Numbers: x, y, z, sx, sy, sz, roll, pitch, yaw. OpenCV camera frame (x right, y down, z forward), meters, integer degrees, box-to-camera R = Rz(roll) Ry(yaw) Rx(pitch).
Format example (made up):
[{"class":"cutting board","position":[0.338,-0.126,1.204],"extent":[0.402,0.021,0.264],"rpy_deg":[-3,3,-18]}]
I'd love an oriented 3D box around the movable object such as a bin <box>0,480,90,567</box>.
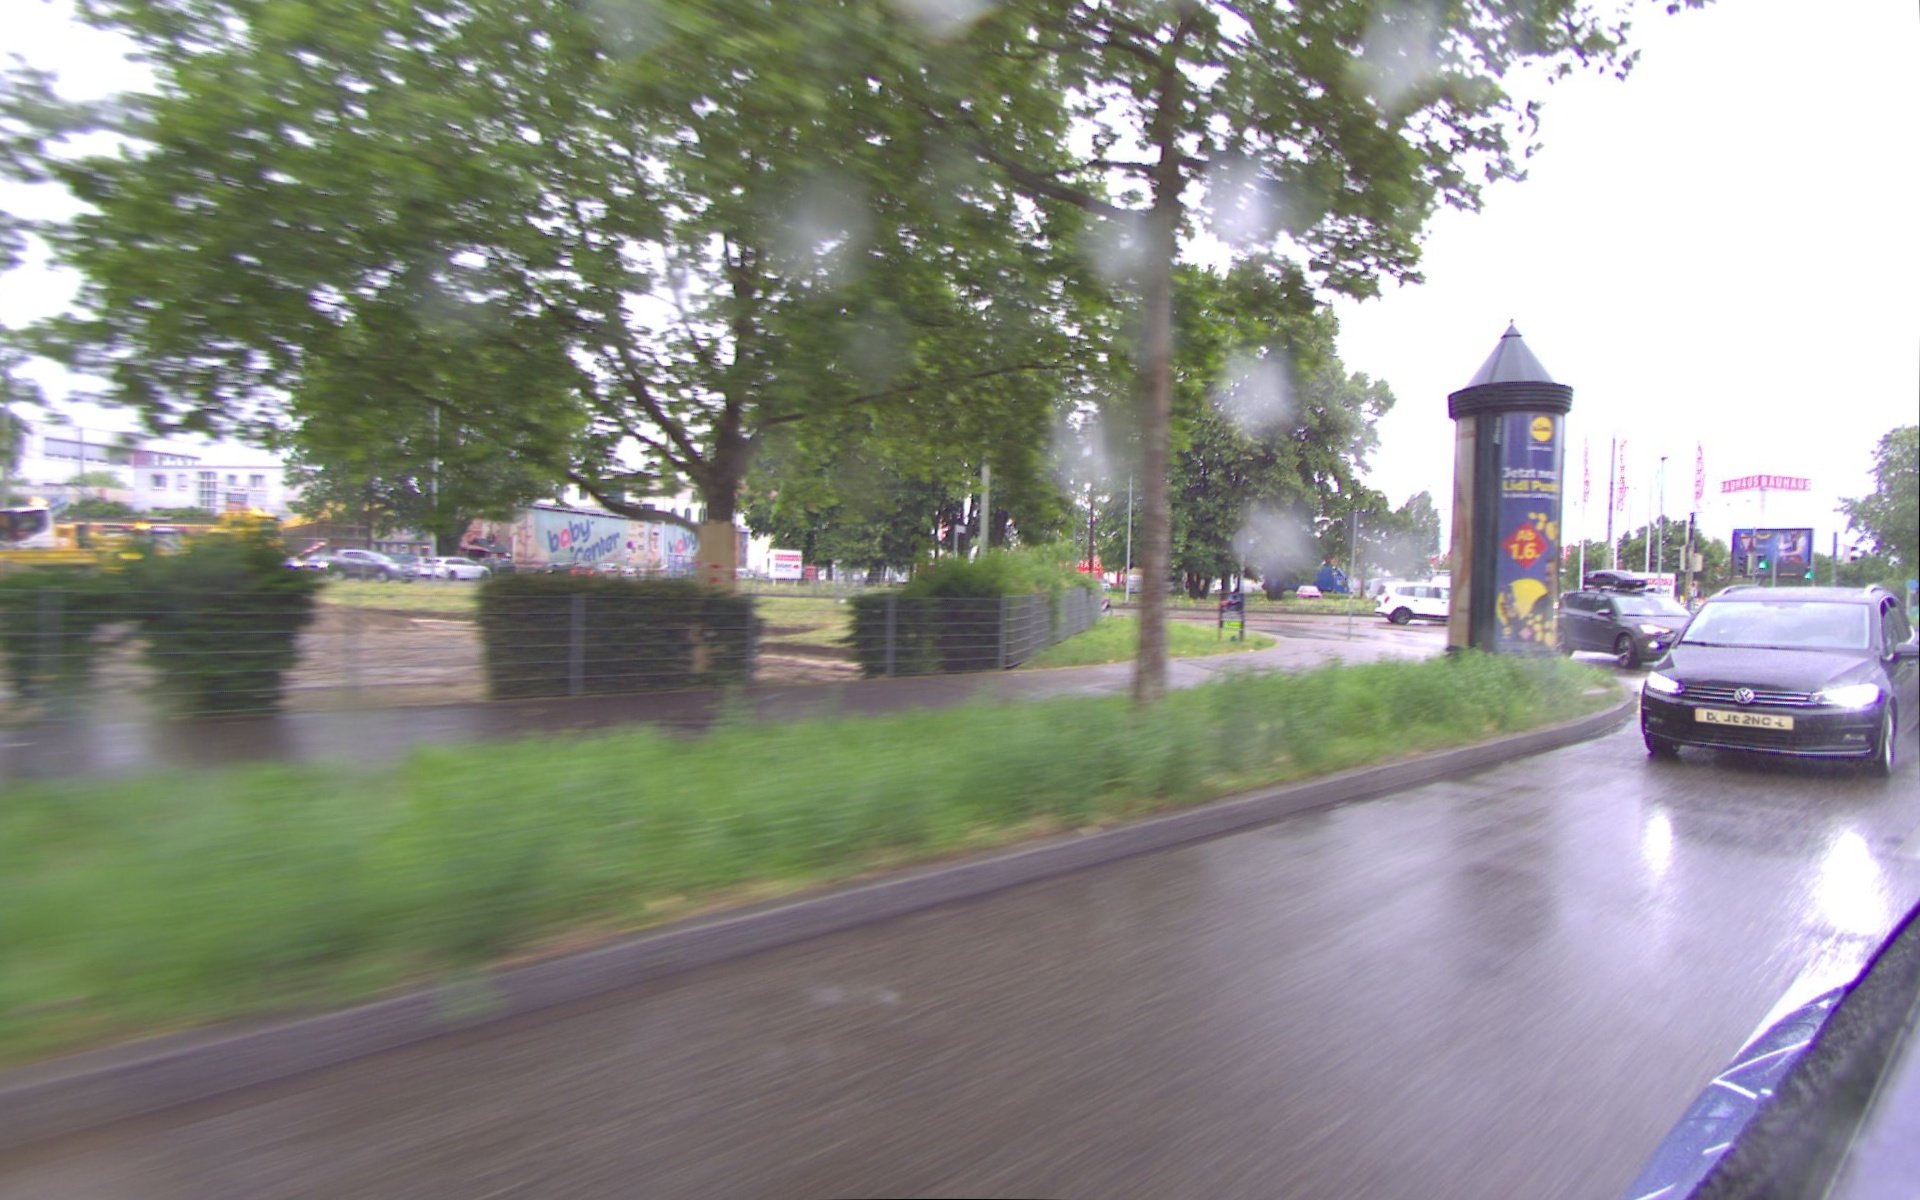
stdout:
[{"class":"movable object such as a bin","position":[-41.254,-3.300,44.337],"extent":[3.253,3.670,3.618],"rpy_deg":[1,1,-6]}]

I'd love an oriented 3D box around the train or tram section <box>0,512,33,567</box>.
[{"class":"train or tram section","position":[-66.914,-3.964,67.693],"extent":[8.969,3.564,2.393],"rpy_deg":[0,1,11]}]

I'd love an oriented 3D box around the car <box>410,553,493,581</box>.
[{"class":"car","position":[-31.295,-2.034,62.439],"extent":[1.823,1.617,4.595],"rpy_deg":[2,2,20]}]

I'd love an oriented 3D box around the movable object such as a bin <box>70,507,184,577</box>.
[{"class":"movable object such as a bin","position":[-29.602,-2.038,35.993],"extent":[3.249,2.385,1.996],"rpy_deg":[2,1,26]}]

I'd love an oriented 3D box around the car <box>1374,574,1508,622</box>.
[{"class":"car","position":[19.064,-0.109,40.318],"extent":[4.391,1.693,1.862],"rpy_deg":[2,2,11]}]

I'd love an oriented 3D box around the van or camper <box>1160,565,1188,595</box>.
[{"class":"van or camper","position":[17.608,-1.644,83.145],"extent":[2.102,2.328,4.449],"rpy_deg":[2,2,14]}]

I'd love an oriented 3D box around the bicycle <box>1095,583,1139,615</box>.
[{"class":"bicycle","position":[5.498,-0.032,35.553],"extent":[0.795,1.051,1.629],"rpy_deg":[1,2,-20]}]

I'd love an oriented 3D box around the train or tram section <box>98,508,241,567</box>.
[{"class":"train or tram section","position":[-50.202,-3.928,64.303],"extent":[8.239,3.564,2.393],"rpy_deg":[0,1,11]}]

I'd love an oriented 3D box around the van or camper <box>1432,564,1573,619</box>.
[{"class":"van or camper","position":[22.831,-0.389,42.774],"extent":[4.831,2.114,1.862],"rpy_deg":[2,2,11]}]

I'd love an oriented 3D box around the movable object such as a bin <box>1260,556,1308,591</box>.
[{"class":"movable object such as a bin","position":[31.509,-2.576,98.445],"extent":[4.187,3.325,2.320],"rpy_deg":[0,1,12]}]

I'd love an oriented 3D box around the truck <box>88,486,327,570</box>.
[{"class":"truck","position":[-34.124,-3.127,46.571],"extent":[2.459,3.387,9.433],"rpy_deg":[0,1,13]}]

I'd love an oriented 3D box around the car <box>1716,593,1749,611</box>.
[{"class":"car","position":[71.859,0.174,94.129],"extent":[3.933,1.639,1.819],"rpy_deg":[0,2,-43]}]

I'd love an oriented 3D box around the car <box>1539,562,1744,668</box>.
[{"class":"car","position":[15.150,0.238,22.863],"extent":[1.900,2.081,4.745],"rpy_deg":[2,2,9]}]

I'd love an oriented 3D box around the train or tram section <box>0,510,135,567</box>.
[{"class":"train or tram section","position":[-58.396,-3.949,65.960],"extent":[8.396,3.564,2.393],"rpy_deg":[0,1,11]}]

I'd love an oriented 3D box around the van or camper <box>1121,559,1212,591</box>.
[{"class":"van or camper","position":[20.767,-2.485,101.938],"extent":[8.847,3.196,2.975],"rpy_deg":[0,1,14]}]

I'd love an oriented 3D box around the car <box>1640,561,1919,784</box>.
[{"class":"car","position":[8.430,0.561,10.033],"extent":[4.118,1.748,1.859],"rpy_deg":[0,0,-42]}]

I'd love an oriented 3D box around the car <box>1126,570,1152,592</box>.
[{"class":"car","position":[14.918,-1.595,84.297],"extent":[1.839,1.749,3.952],"rpy_deg":[2,2,14]}]
